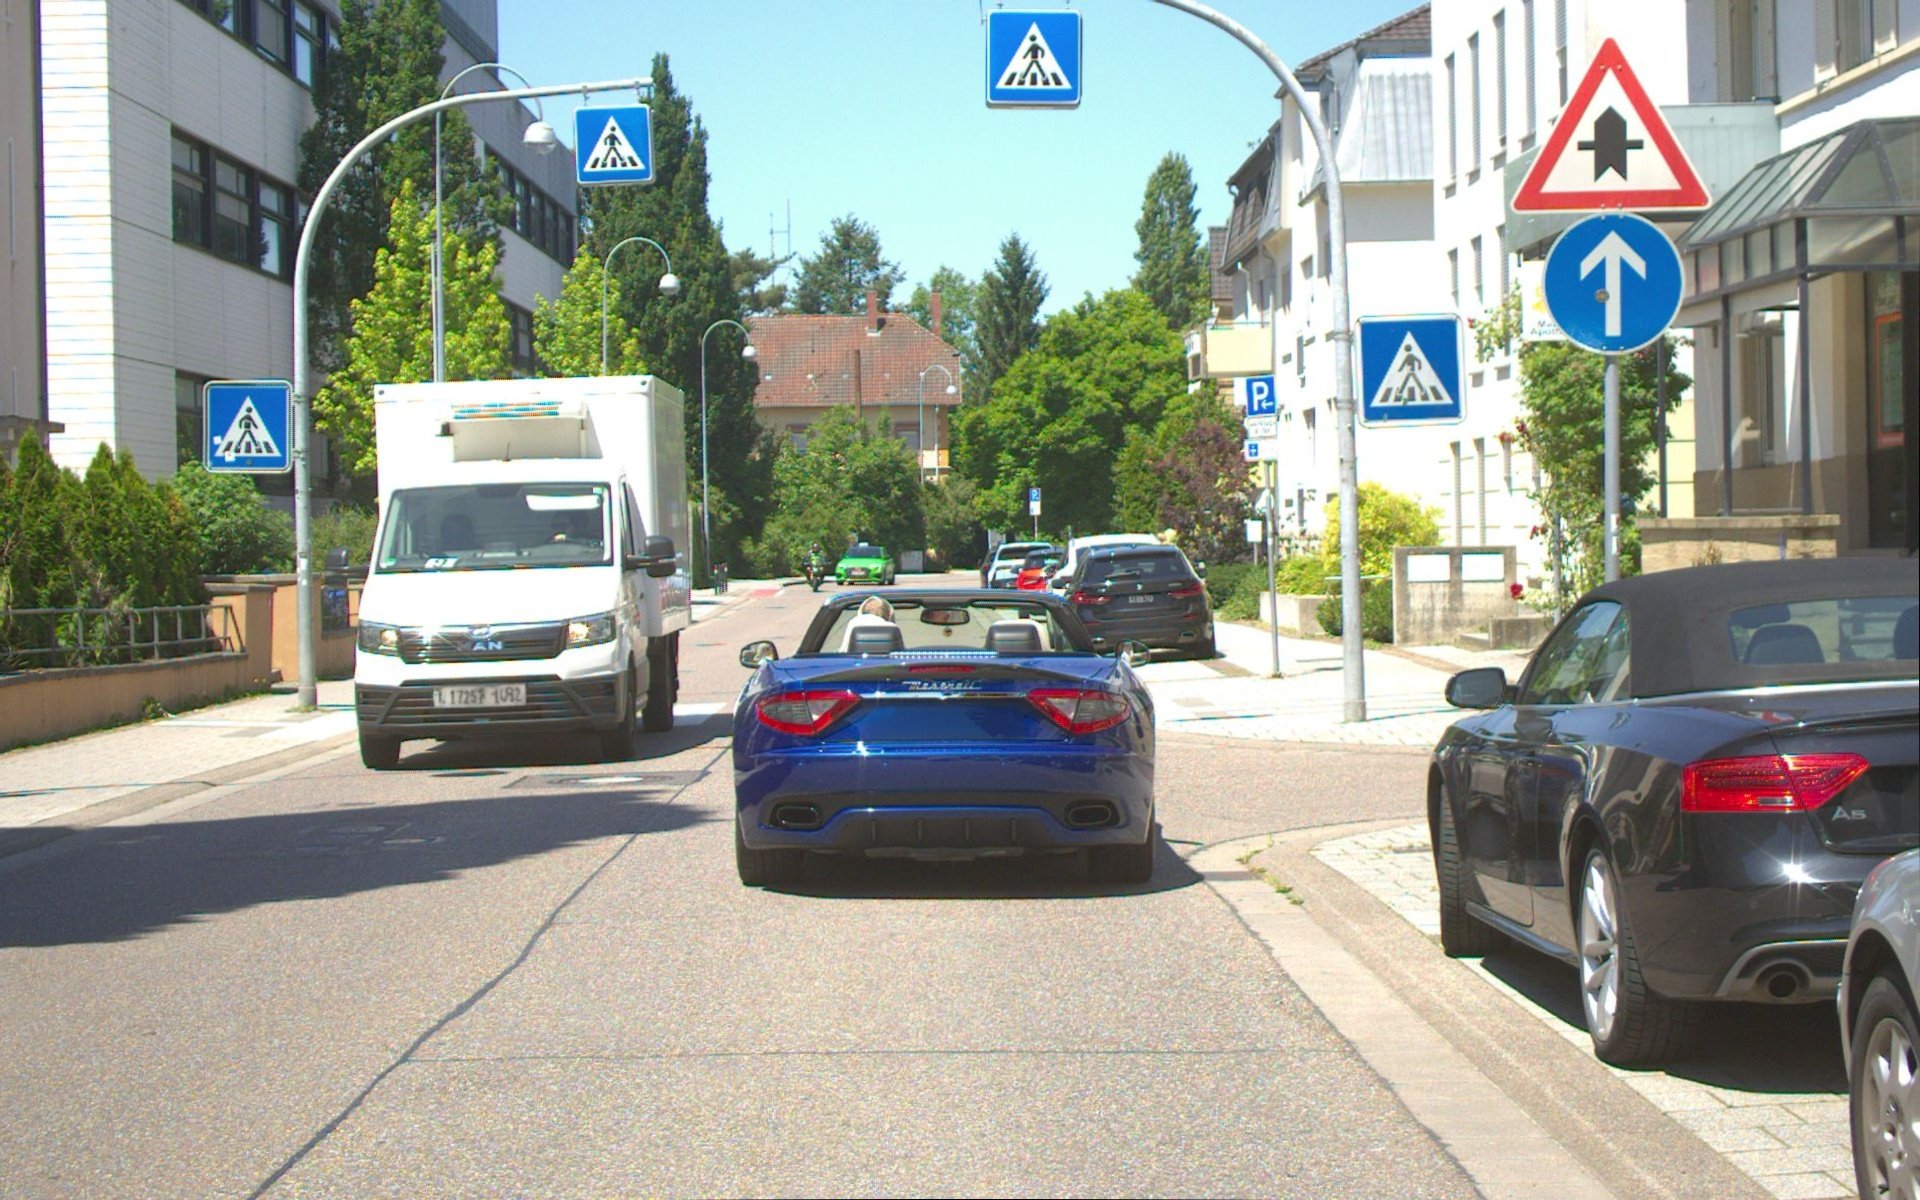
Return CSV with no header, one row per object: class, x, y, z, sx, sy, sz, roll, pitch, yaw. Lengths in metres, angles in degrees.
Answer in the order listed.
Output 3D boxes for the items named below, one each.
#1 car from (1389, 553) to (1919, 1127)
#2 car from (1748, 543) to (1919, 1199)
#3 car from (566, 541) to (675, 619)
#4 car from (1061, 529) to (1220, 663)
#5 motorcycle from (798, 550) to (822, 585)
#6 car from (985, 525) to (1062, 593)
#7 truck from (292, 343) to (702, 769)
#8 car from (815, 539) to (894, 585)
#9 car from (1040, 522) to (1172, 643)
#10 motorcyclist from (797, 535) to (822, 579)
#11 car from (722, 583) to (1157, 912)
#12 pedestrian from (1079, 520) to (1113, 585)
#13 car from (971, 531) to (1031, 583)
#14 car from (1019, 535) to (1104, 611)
car,2.623,0.578,11.081,1.826,1.422,4.700,-1,1,-1
car,2.609,0.615,4.878,1.743,1.463,4.852,-3,1,-1
car,-6.881,-0.431,70.042,1.822,1.507,4.290,-1,1,0
car,2.287,-0.104,44.537,1.705,1.551,4.748,-3,1,0
motorcycle,-4.929,-1.058,113.016,0.699,1.103,1.790,-3,1,0
car,1.627,-1.078,89.052,1.843,1.614,4.427,-3,1,0
truck,-3.530,-0.371,27.602,2.420,2.973,6.258,-2,1,0
car,-3.931,-1.426,127.913,1.822,1.583,4.102,1,1,-18
car,2.117,-0.298,50.880,1.705,1.660,4.580,-1,1,0
motorcyclist,-4.939,-1.412,112.861,0.699,1.428,0.707,-3,1,0
car,-0.111,0.608,16.826,1.826,1.332,4.700,0,1,-1
pedestrian,3.582,-1.257,90.539,0.740,1.664,0.706,-4,1,-2
car,1.207,-1.307,103.511,1.631,1.441,4.398,-4,1,-1
car,2.101,-0.583,72.077,1.603,1.436,3.853,-4,1,1
